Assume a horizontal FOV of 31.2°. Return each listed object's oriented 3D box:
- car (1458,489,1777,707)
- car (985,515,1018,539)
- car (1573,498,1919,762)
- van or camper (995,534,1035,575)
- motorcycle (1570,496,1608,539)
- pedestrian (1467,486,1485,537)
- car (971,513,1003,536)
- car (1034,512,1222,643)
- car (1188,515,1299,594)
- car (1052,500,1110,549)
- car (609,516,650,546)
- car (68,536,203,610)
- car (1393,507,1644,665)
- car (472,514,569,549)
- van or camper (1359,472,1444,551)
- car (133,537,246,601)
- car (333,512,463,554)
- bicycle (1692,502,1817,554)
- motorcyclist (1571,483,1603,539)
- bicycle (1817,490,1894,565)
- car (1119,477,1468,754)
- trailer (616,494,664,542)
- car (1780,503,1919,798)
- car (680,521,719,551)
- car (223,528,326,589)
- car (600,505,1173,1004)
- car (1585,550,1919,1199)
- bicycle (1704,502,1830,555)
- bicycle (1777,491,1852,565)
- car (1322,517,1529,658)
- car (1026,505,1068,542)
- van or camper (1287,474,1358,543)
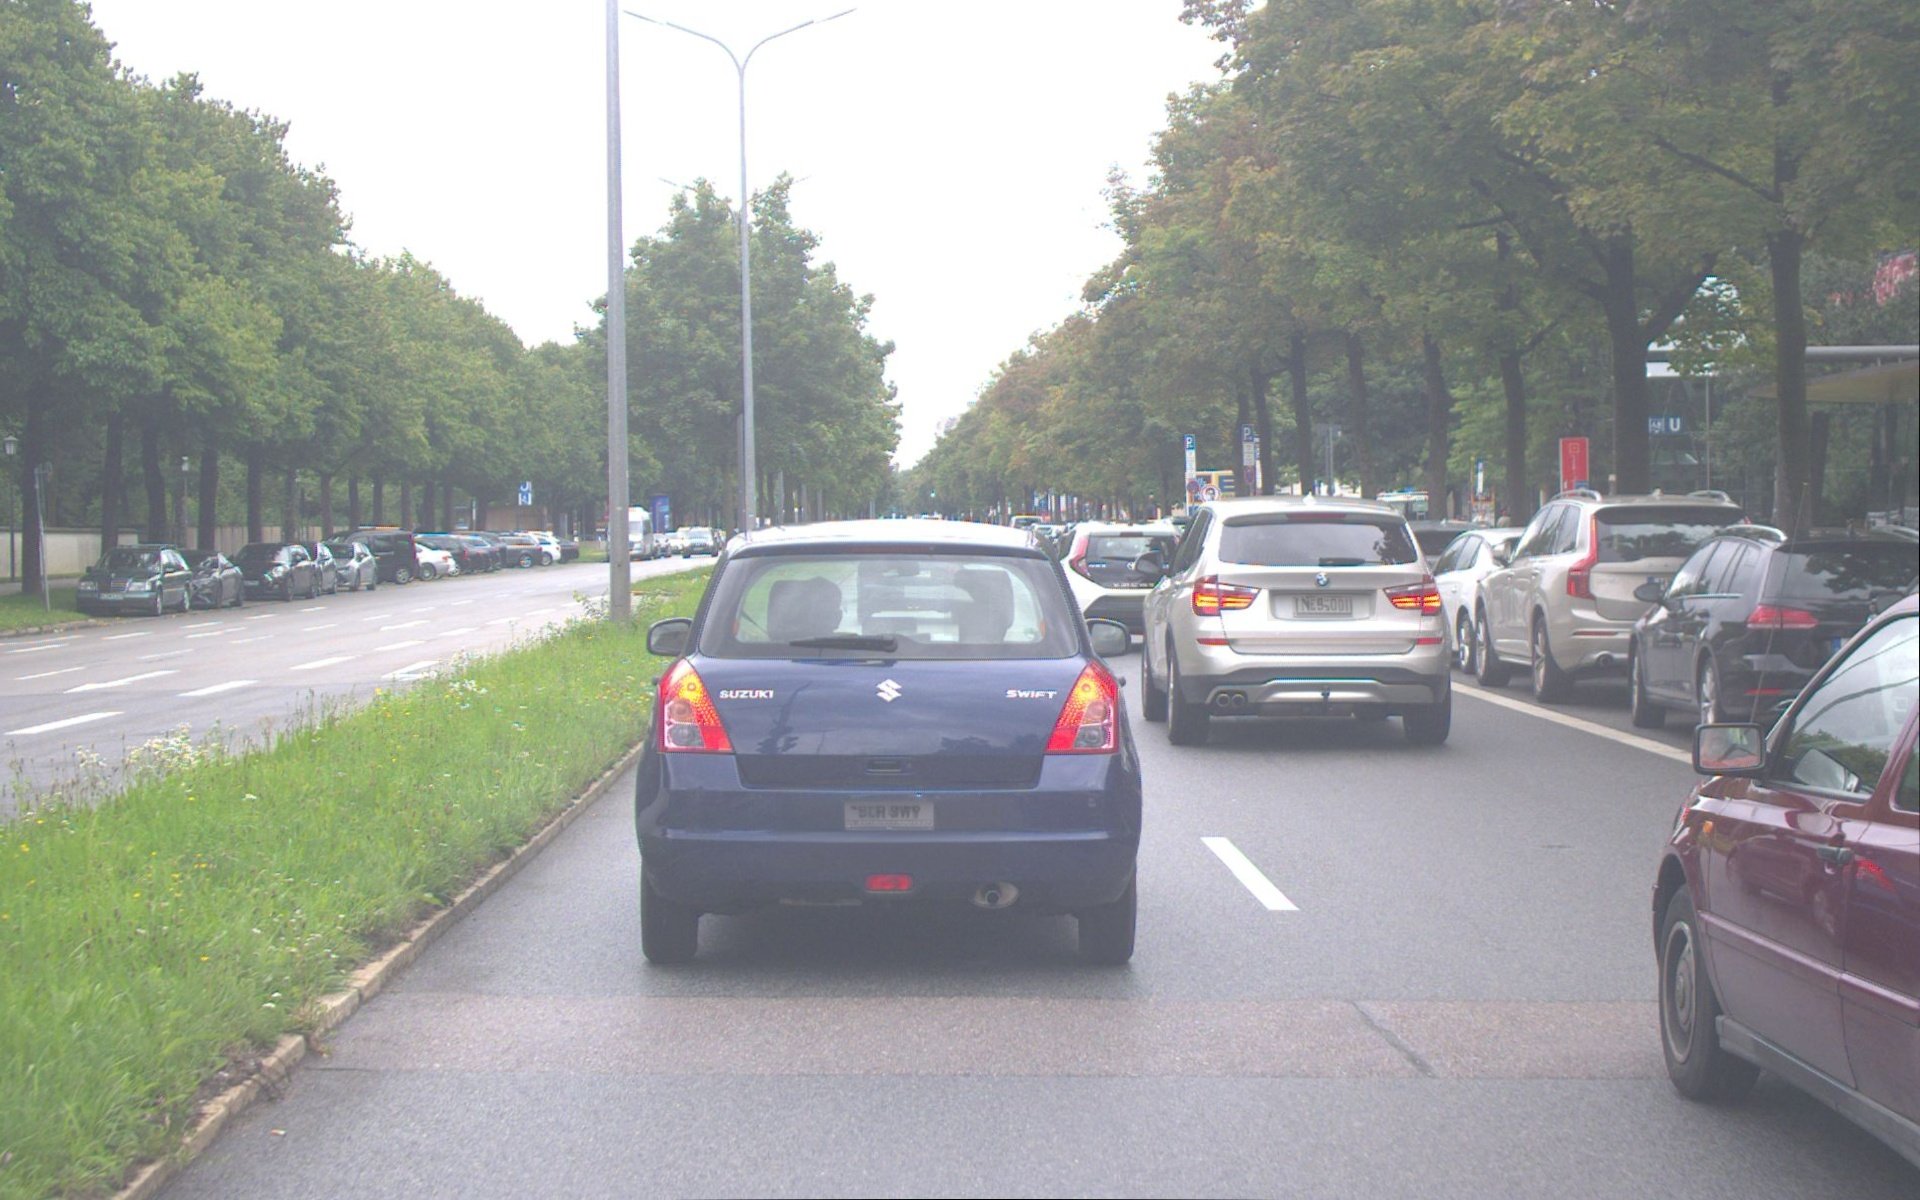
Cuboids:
[{"bbox_3d":[5.551,-0.095,29.621,1.747,1.718,4.907,0,2,-1],"label":"car"},{"bbox_3d":[2.576,-4.537,213.892,1.850,1.442,4.098,-1,2,-2],"label":"car"},{"bbox_3d":[5.565,0.118,23.523,1.747,1.542,4.643,-2,2,-1],"label":"car"},{"bbox_3d":[2.793,-2.333,175.528,1.944,1.968,4.306,-1,1,0],"label":"van or camper"},{"bbox_3d":[20.147,-2.638,110.111,0.696,1.286,2.066,-5,1,-1],"label":"motorcycle"},{"bbox_3d":[18.050,-3.098,120.259,0.575,1.745,0.732,-1,1,4],"label":"pedestrian"},{"bbox_3d":[1.788,-5.012,227.728,1.850,1.442,4.098,-1,2,-2],"label":"car"},{"bbox_3d":[1.949,-0.306,40.894,1.850,1.442,4.098,-1,2,-2],"label":"car"},{"bbox_3d":[5.424,-0.901,66.214,1.633,1.434,4.305,-1,2,-2],"label":"car"},{"bbox_3d":[4.185,-2.615,119.234,1.764,1.646,4.424,-1,2,-1],"label":"car"},{"bbox_3d":[-17.270,-3.611,179.790,1.913,1.537,4.188,-1,2,-2],"label":"car"},{"bbox_3d":[-17.749,-0.611,74.183,1.799,1.485,4.916,0,2,-1],"label":"car"},{"bbox_3d":[5.699,-0.192,35.593,1.702,1.503,4.504,-1,2,-2],"label":"car"},{"bbox_3d":[-20.729,-3.224,162.127,4.095,1.579,1.919,-2,2,-34],"label":"car"},{"bbox_3d":[14.794,-2.973,115.576,1.993,2.549,5.957,-1,2,0],"label":"van or camper"},{"bbox_3d":[-17.909,-0.753,80.075,1.659,1.391,4.707,0,2,-1],"label":"car"},{"bbox_3d":[-19.372,-2.308,118.607,3.988,1.349,1.850,-2,2,-35],"label":"car"},{"bbox_3d":[17.258,-1.559,74.720,2.542,1.085,0.647,-1,1,-1],"label":"bicycle"},{"bbox_3d":[20.135,-2.872,110.369,0.691,1.731,0.953,-5,1,-1],"label":"motorcyclist"},{"bbox_3d":[15.834,-1.287,60.817,0.645,1.276,2.551,-1,1,-1],"label":"bicycle"},{"bbox_3d":[2.226,0.045,23.953,1.850,1.737,4.098,-1,2,-2],"label":"car"},{"bbox_3d":[-17.580,-4.511,189.177,2.106,2.531,5.577,-1,2,0],"label":"trailer"},{"bbox_3d":[5.878,0.246,18.554,1.712,1.542,4.382,-1,2,-2],"label":"car"},{"bbox_3d":[-13.871,-3.404,183.124,1.913,1.537,4.188,-1,2,-2],"label":"car"},{"bbox_3d":[-17.606,-1.079,88.471,1.571,1.498,4.303,0,2,3],"label":"car"},{"bbox_3d":[-0.312,0.434,12.869,1.789,1.550,4.001,-1,2,-2],"label":"car"},{"bbox_3d":[2.608,0.638,7.626,1.622,1.449,3.950,-1,2,-1],"label":"car"},{"bbox_3d":[17.251,-1.522,73.501,2.542,1.085,0.647,-1,1,-1],"label":"bicycle"},{"bbox_3d":[15.115,-1.275,60.838,0.645,1.276,2.551,-1,1,-1],"label":"bicycle"},{"bbox_3d":[5.381,-0.191,40.253,1.720,1.529,4.400,1,1,-1],"label":"car"},{"bbox_3d":[3.733,-3.297,147.920,1.684,1.520,4.456,1,2,0],"label":"car"},{"bbox_3d":[13.894,-3.499,132.054,2.024,2.549,5.957,-1,2,0],"label":"van or camper"}]
